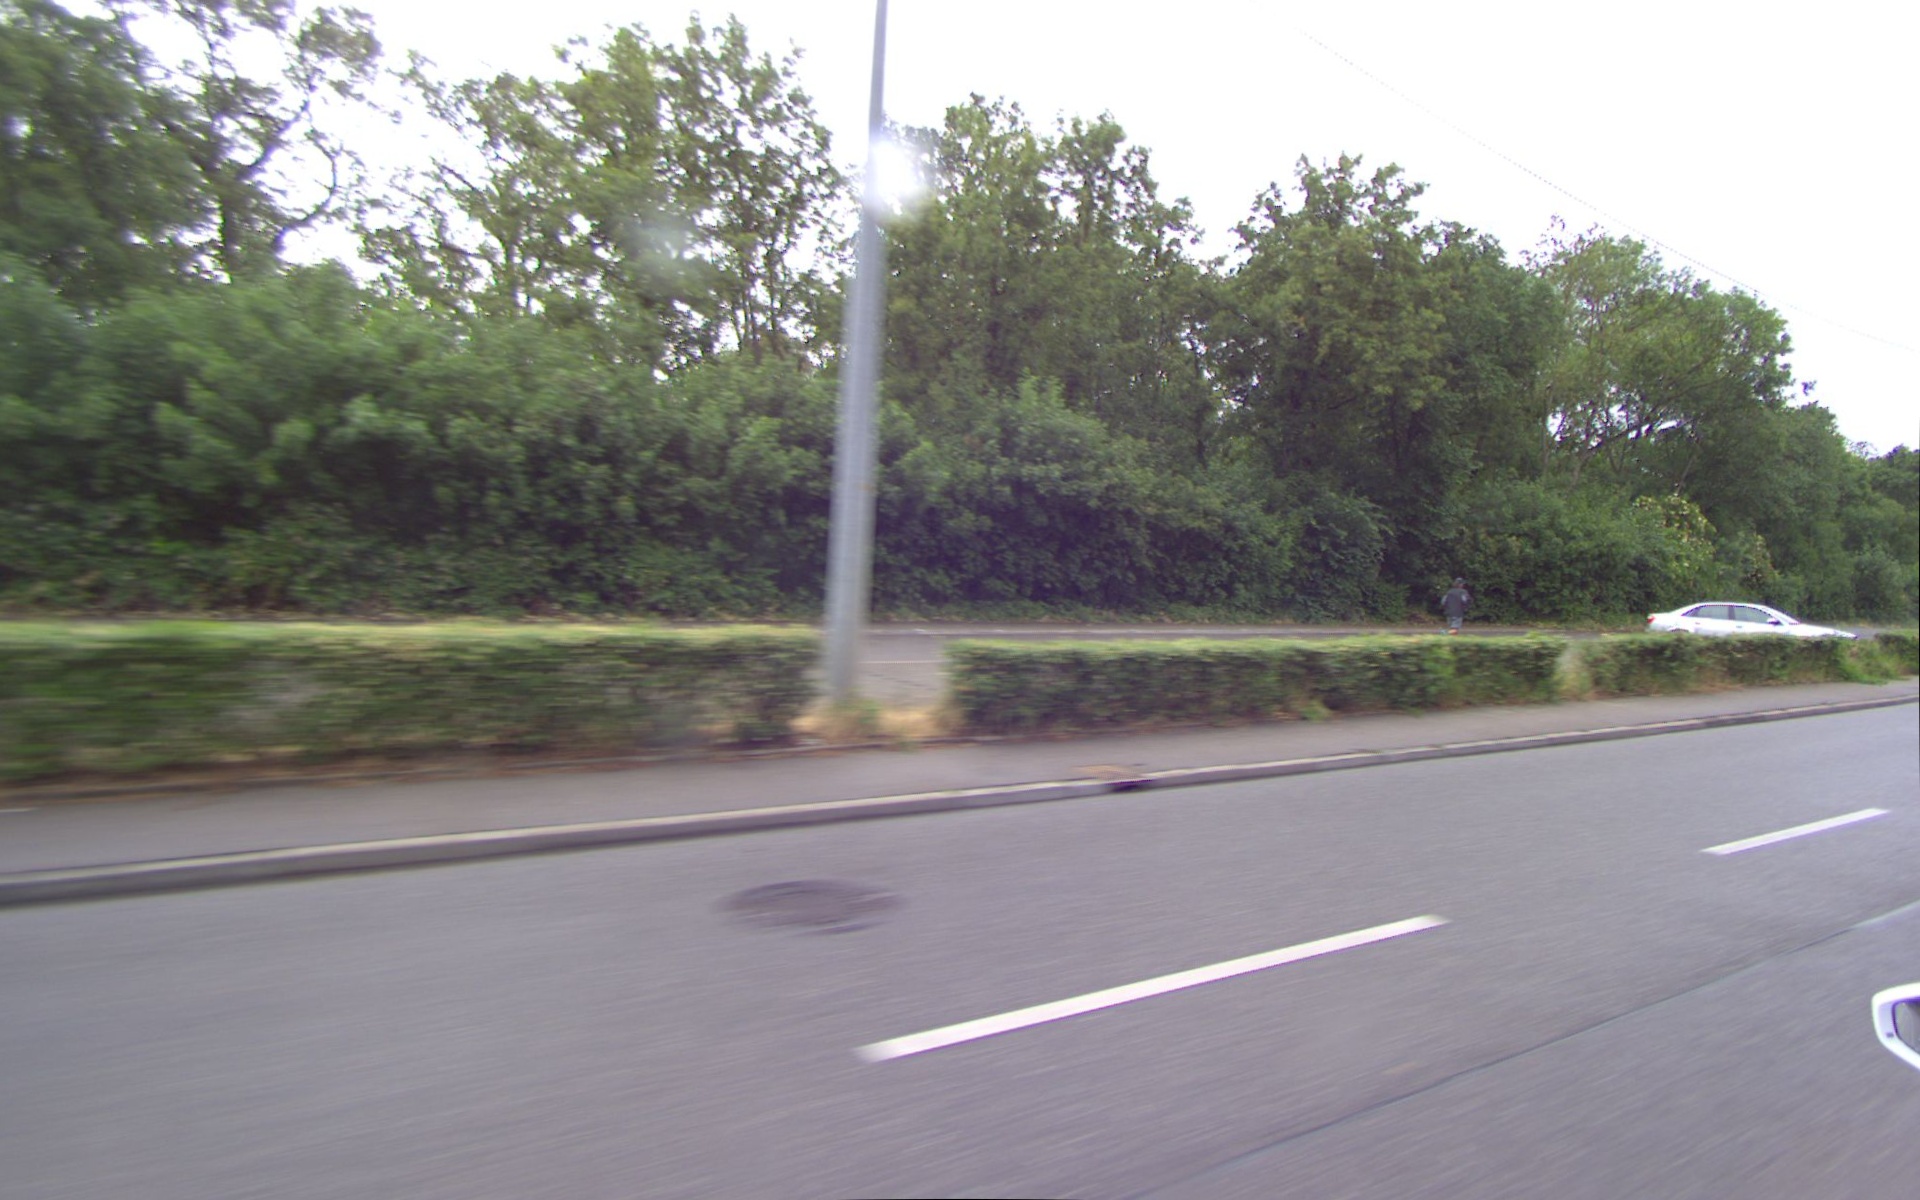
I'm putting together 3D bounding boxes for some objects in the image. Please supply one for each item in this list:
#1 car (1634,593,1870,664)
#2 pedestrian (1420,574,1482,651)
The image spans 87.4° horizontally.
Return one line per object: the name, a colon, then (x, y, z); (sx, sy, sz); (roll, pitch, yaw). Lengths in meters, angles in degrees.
car: (20.731, 0.683, 26.445); (1.984, 1.526, 4.536); (1, 2, -40)
pedestrian: (12.049, 0.306, 24.667); (1.121, 1.822, 0.813); (1, 2, -29)
